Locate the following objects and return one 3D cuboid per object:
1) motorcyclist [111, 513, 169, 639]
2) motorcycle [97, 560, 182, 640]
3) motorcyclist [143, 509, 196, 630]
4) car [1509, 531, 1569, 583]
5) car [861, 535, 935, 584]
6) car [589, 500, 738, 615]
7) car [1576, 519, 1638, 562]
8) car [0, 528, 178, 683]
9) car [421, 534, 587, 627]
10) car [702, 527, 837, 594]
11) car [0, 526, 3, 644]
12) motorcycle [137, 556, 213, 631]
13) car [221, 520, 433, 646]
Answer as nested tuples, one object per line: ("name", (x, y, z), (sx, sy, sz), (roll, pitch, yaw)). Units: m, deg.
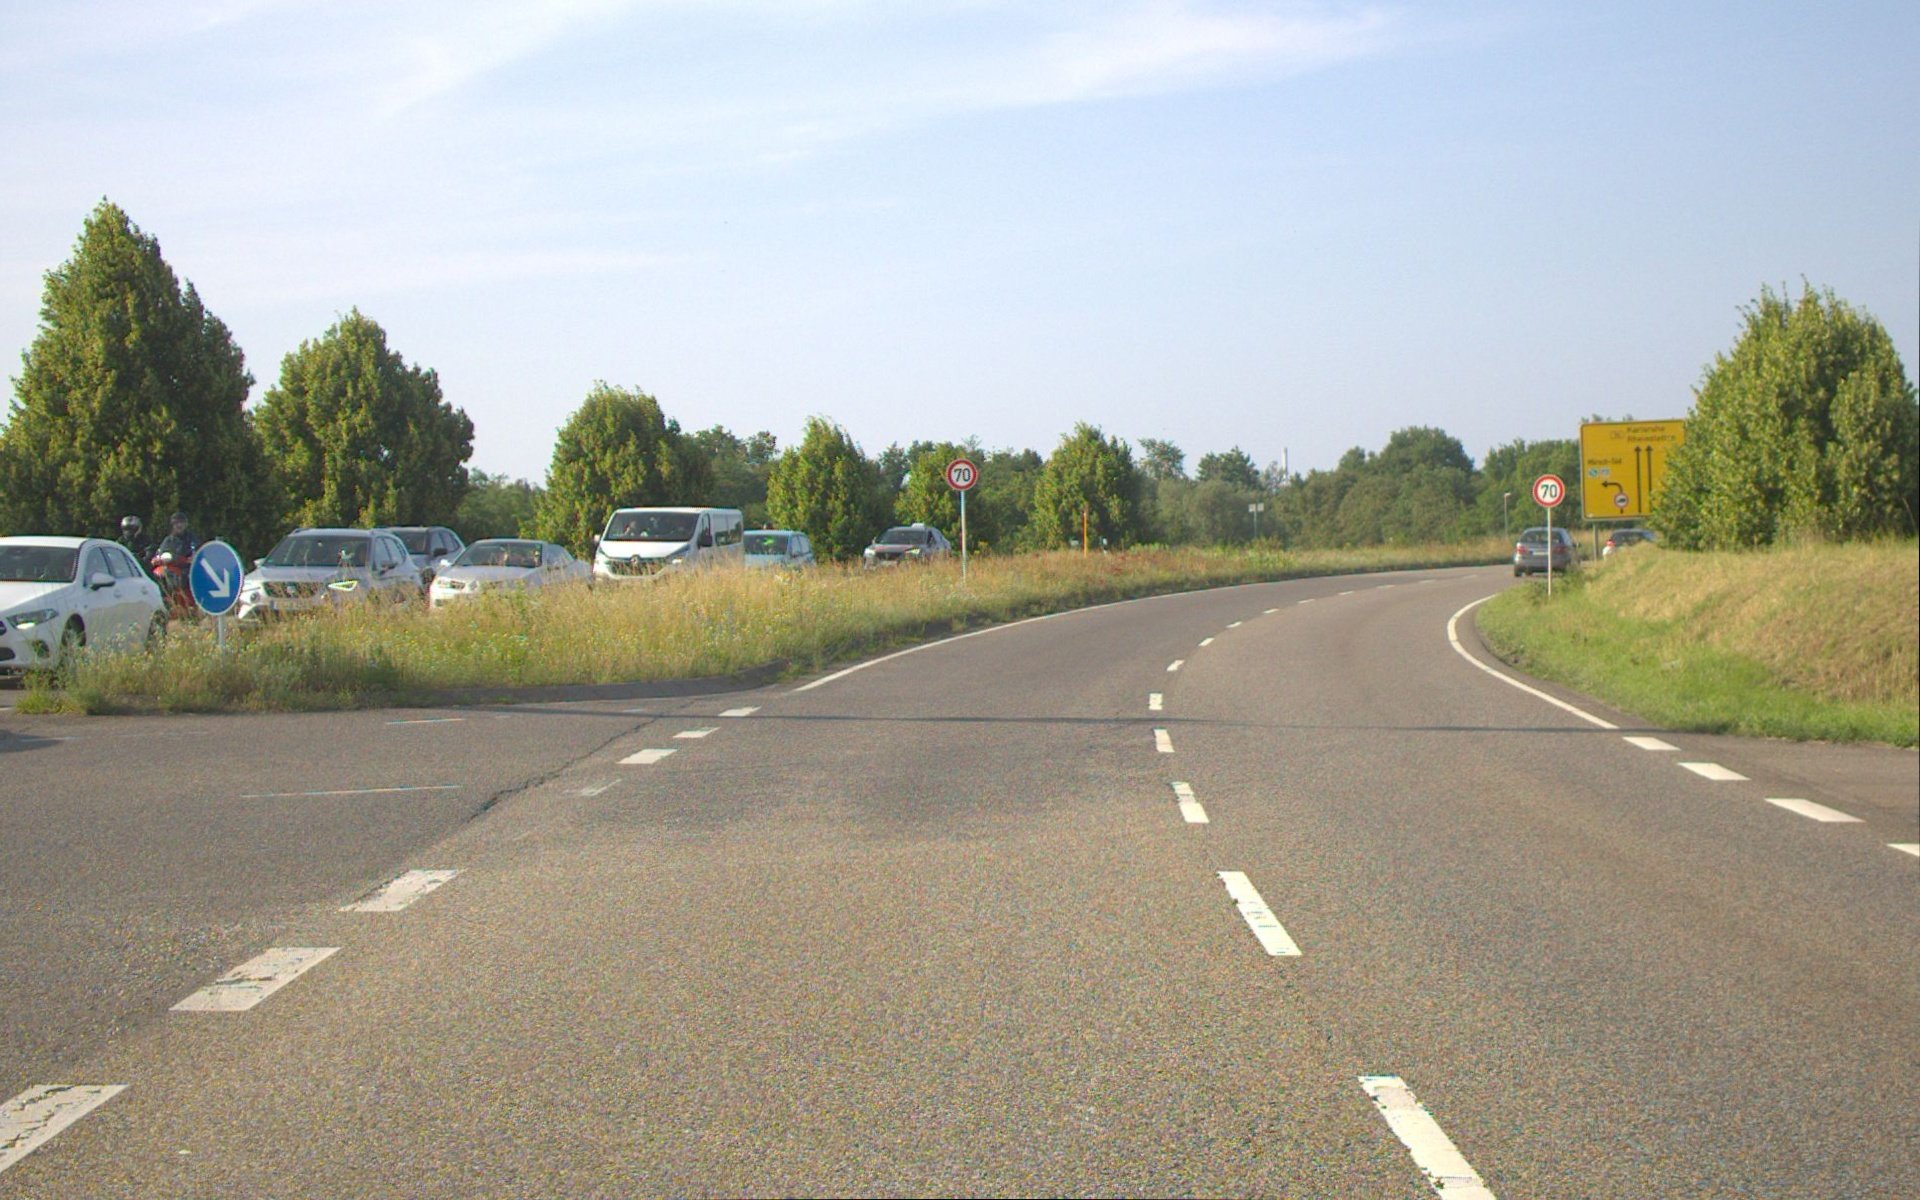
("motorcyclist", (-11.432, -0.341, 47.944), (0.662, 1.741, 0.605), (-1, 1, -3))
("motorcycle", (-11.448, -0.009, 47.984), (0.873, 1.093, 1.469), (-1, 1, -2))
("motorcyclist", (-11.874, -0.460, 51.670), (0.662, 1.810, 0.605), (-1, 1, -3))
("car", (18.759, -1.384, 111.530), (1.785, 1.600, 4.194), (0, 0, 8))
("car", (-1.800, -1.197, 100.788), (1.406, 1.397, 3.420), (0, 1, 12))
("car", (-5.552, -0.809, 64.930), (1.926, 2.071, 4.242), (-1, 1, 7))
("car", (24.475, -2.241, 130.006), (1.811, 1.560, 4.527), (0, 1, 17))
("car", (-9.244, 0.019, 33.976), (1.786, 1.428, 4.308), (-1, 1, 4))
("car", (-7.103, -0.331, 53.896), (1.786, 1.381, 4.051), (-1, 1, 4))
("car", (-4.034, -0.857, 73.329), (1.787, 1.381, 4.049), (0, 1, 13))
("car", (-12.719, -0.141, 39.999), (1.786, 1.428, 4.051), (-1, 1, 4))
("motorcycle", (-11.761, -0.109, 51.520), (0.873, 1.093, 1.299), (-1, 1, -2))
("car", (-8.287, -0.248, 45.344), (1.786, 1.563, 4.051), (-1, 1, 4))
